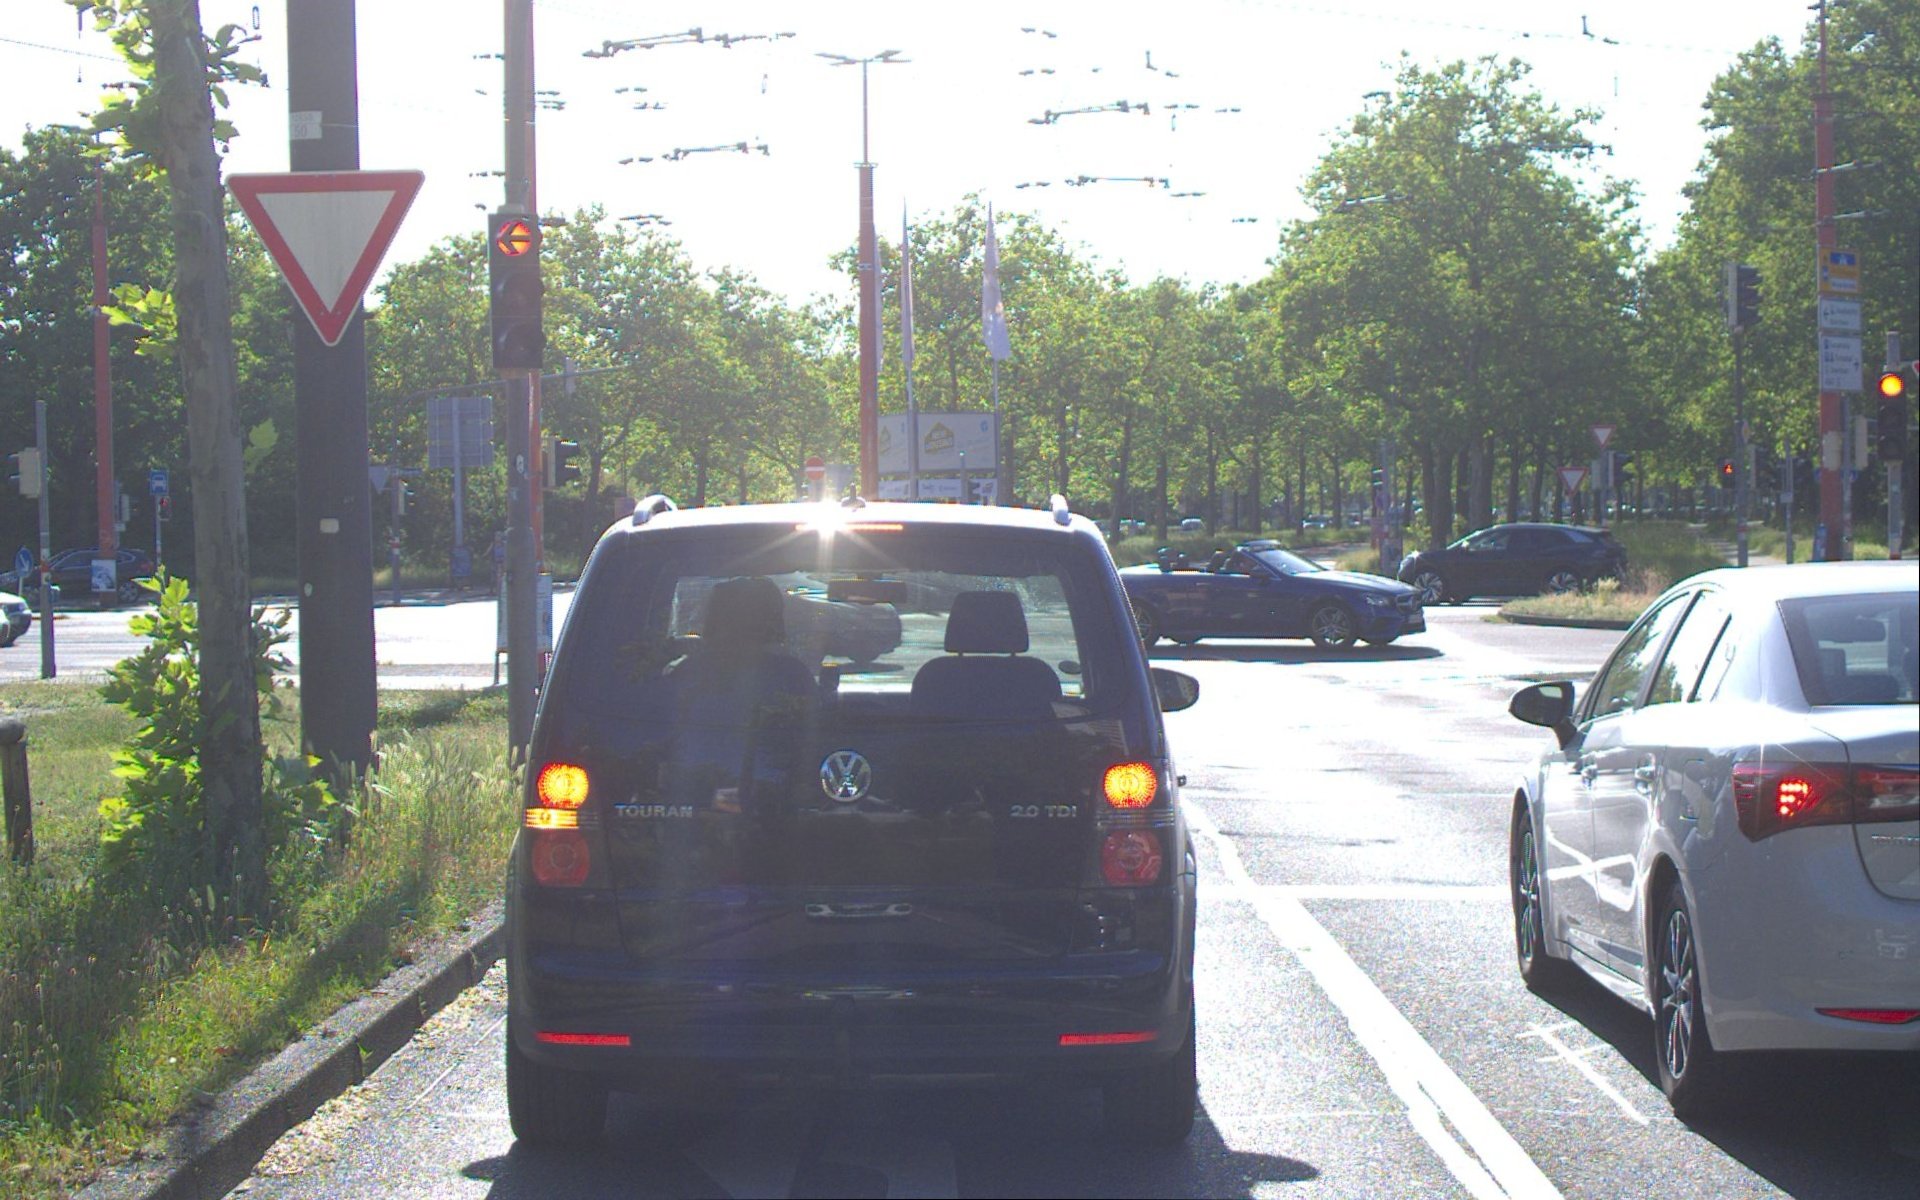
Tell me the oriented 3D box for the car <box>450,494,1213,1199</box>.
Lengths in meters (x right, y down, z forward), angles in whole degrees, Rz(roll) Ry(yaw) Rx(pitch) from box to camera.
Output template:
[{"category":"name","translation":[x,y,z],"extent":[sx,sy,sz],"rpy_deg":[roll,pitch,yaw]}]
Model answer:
[{"category":"car","translation":[-0.314,0.546,9.873],"extent":[1.737,1.635,4.000],"rpy_deg":[0,1,-1]}]

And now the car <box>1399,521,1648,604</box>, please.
[{"category":"car","translation":[11.147,-0.746,68.032],"extent":[4.459,1.590,1.997],"rpy_deg":[0,1,26]}]

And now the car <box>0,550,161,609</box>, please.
[{"category":"car","translation":[-24.834,-0.586,96.233],"extent":[4.452,1.590,2.000],"rpy_deg":[-1,1,-25]}]

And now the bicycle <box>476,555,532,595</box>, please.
[{"category":"bicycle","translation":[-12.520,-0.685,94.414],"extent":[0.735,1.086,1.959],"rpy_deg":[0,1,18]}]

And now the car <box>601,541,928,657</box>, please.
[{"category":"car","translation":[-2.612,-0.031,45.741],"extent":[3.993,1.489,1.769],"rpy_deg":[0,1,27]}]

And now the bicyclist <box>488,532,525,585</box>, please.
[{"category":"bicyclist","translation":[-12.489,-1.154,94.625],"extent":[0.693,1.452,0.874],"rpy_deg":[0,1,18]}]

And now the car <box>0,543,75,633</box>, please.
[{"category":"car","translation":[-17.312,-0.221,58.701],"extent":[4.226,1.474,1.751],"rpy_deg":[0,1,30]}]

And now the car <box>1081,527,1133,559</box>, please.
[{"category":"car","translation":[8.008,-3.112,187.303],"extent":[1.995,1.679,4.826],"rpy_deg":[0,1,13]}]

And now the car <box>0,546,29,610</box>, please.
[{"category":"car","translation":[-26.024,-0.550,87.170],"extent":[4.459,1.590,1.997],"rpy_deg":[0,1,26]}]

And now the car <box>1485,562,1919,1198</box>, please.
[{"category":"car","translation":[2.689,0.630,10.074],"extent":[1.715,1.449,4.144],"rpy_deg":[0,1,1]}]

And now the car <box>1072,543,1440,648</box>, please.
[{"category":"car","translation":[3.991,-0.072,46.576],"extent":[4.660,1.358,1.769],"rpy_deg":[0,1,29]}]
